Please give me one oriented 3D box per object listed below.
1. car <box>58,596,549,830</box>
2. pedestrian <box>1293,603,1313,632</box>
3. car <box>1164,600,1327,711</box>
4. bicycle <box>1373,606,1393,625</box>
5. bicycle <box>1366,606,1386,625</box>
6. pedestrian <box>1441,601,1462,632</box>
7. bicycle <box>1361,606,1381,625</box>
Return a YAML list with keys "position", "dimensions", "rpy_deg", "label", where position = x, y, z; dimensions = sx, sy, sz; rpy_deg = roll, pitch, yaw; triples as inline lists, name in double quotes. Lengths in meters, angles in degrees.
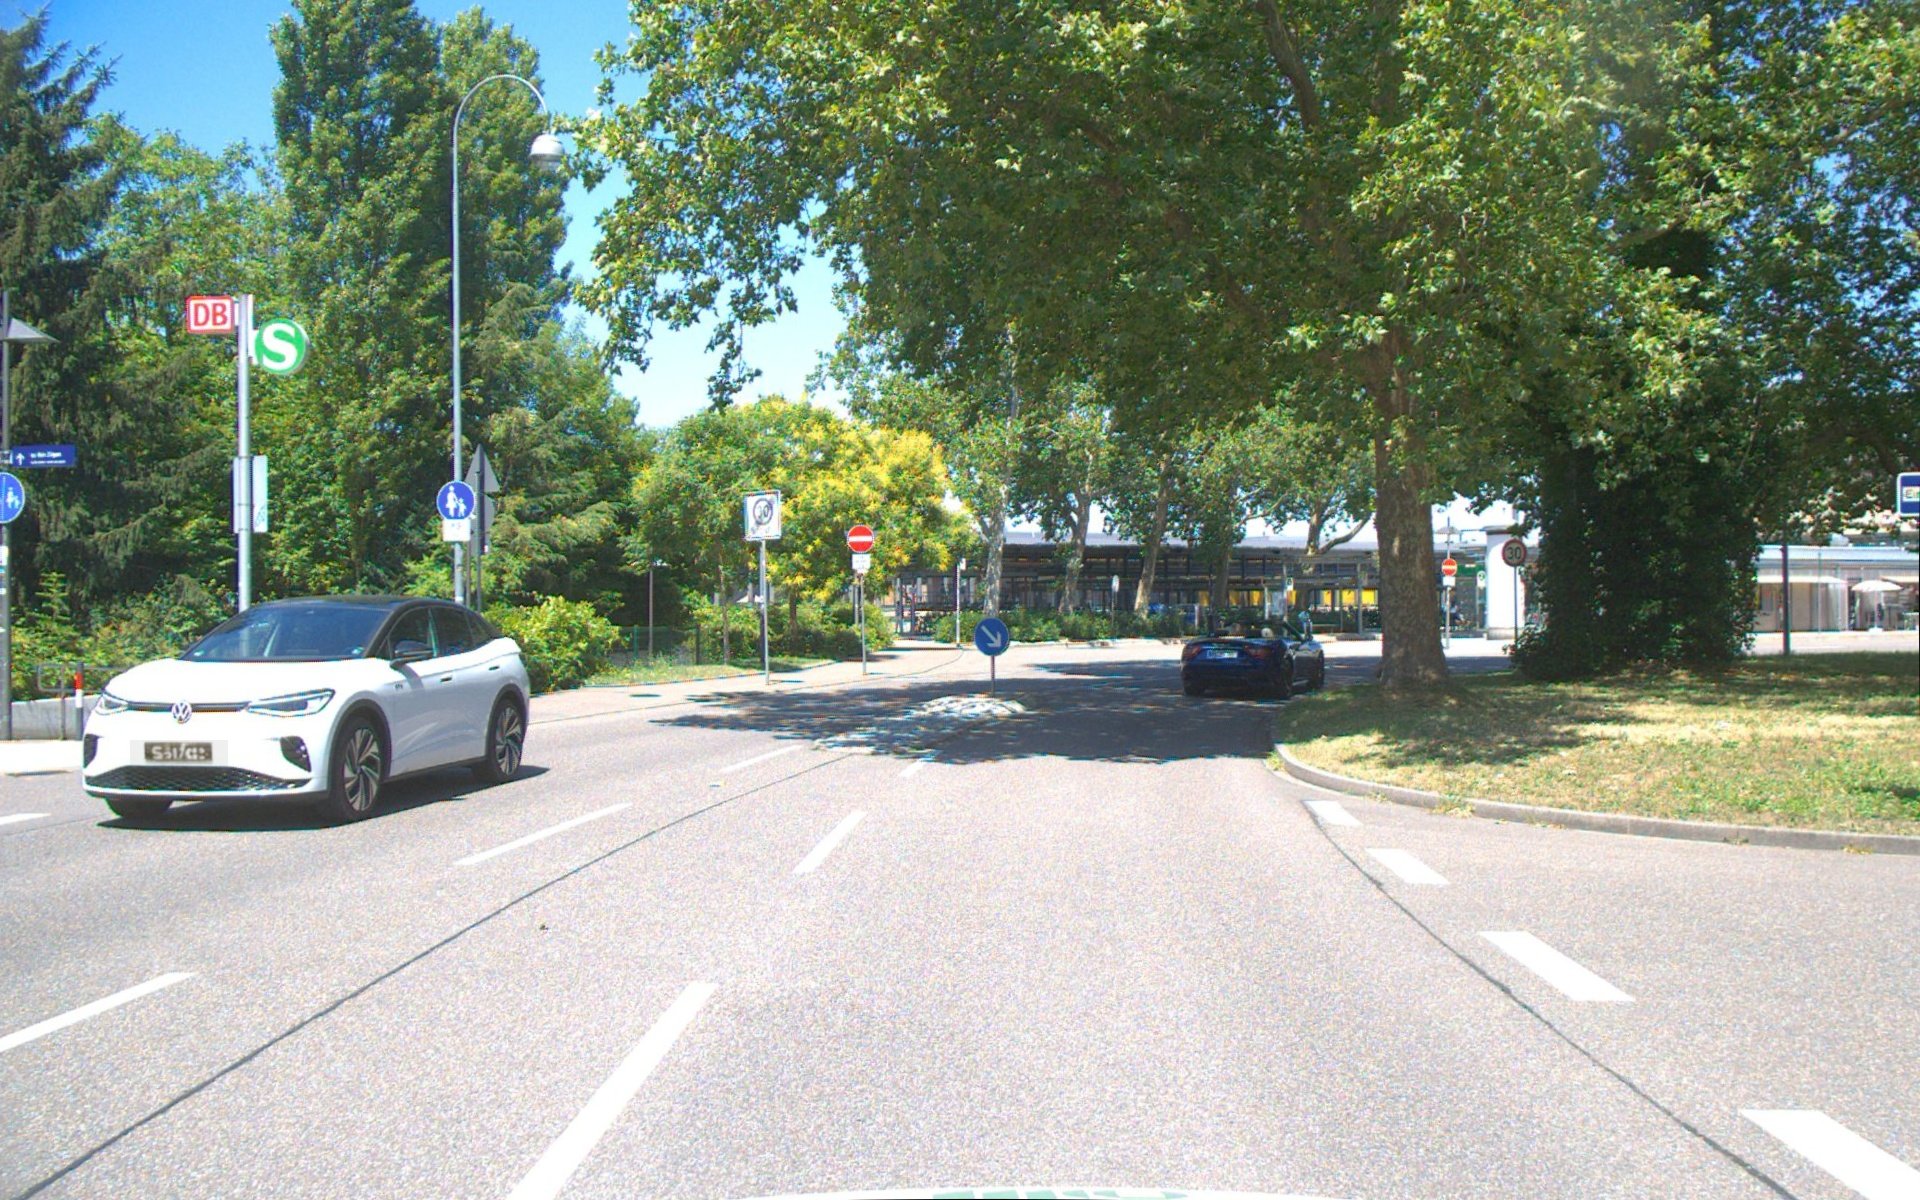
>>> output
- position: [-4.962, 0.753, 13.272]
  dimensions: [1.805, 1.557, 4.342]
  rpy_deg: [0, 0, 7]
  label: "car"
- position: [17.784, 0.930, 85.716]
  dimensions: [0.811, 1.489, 0.601]
  rpy_deg: [0, -1, -31]
  label: "pedestrian"
- position: [5.277, 0.934, 30.184]
  dimensions: [2.082, 1.881, 4.047]
  rpy_deg: [0, 0, 23]
  label: "car"
- position: [25.028, 0.947, 97.964]
  dimensions: [0.380, 1.113, 1.375]
  rpy_deg: [1, -2, -24]
  label: "bicycle"
- position: [24.589, 0.937, 97.786]
  dimensions: [0.380, 1.113, 1.373]
  rpy_deg: [2, -2, -27]
  label: "bicycle"
- position: [26.796, 0.897, 90.205]
  dimensions: [0.807, 1.645, 0.763]
  rpy_deg: [-1, 0, 43]
  label: "pedestrian"
- position: [24.245, 0.927, 97.560]
  dimensions: [0.380, 1.113, 1.374]
  rpy_deg: [2, -2, -26]
  label: "bicycle"
